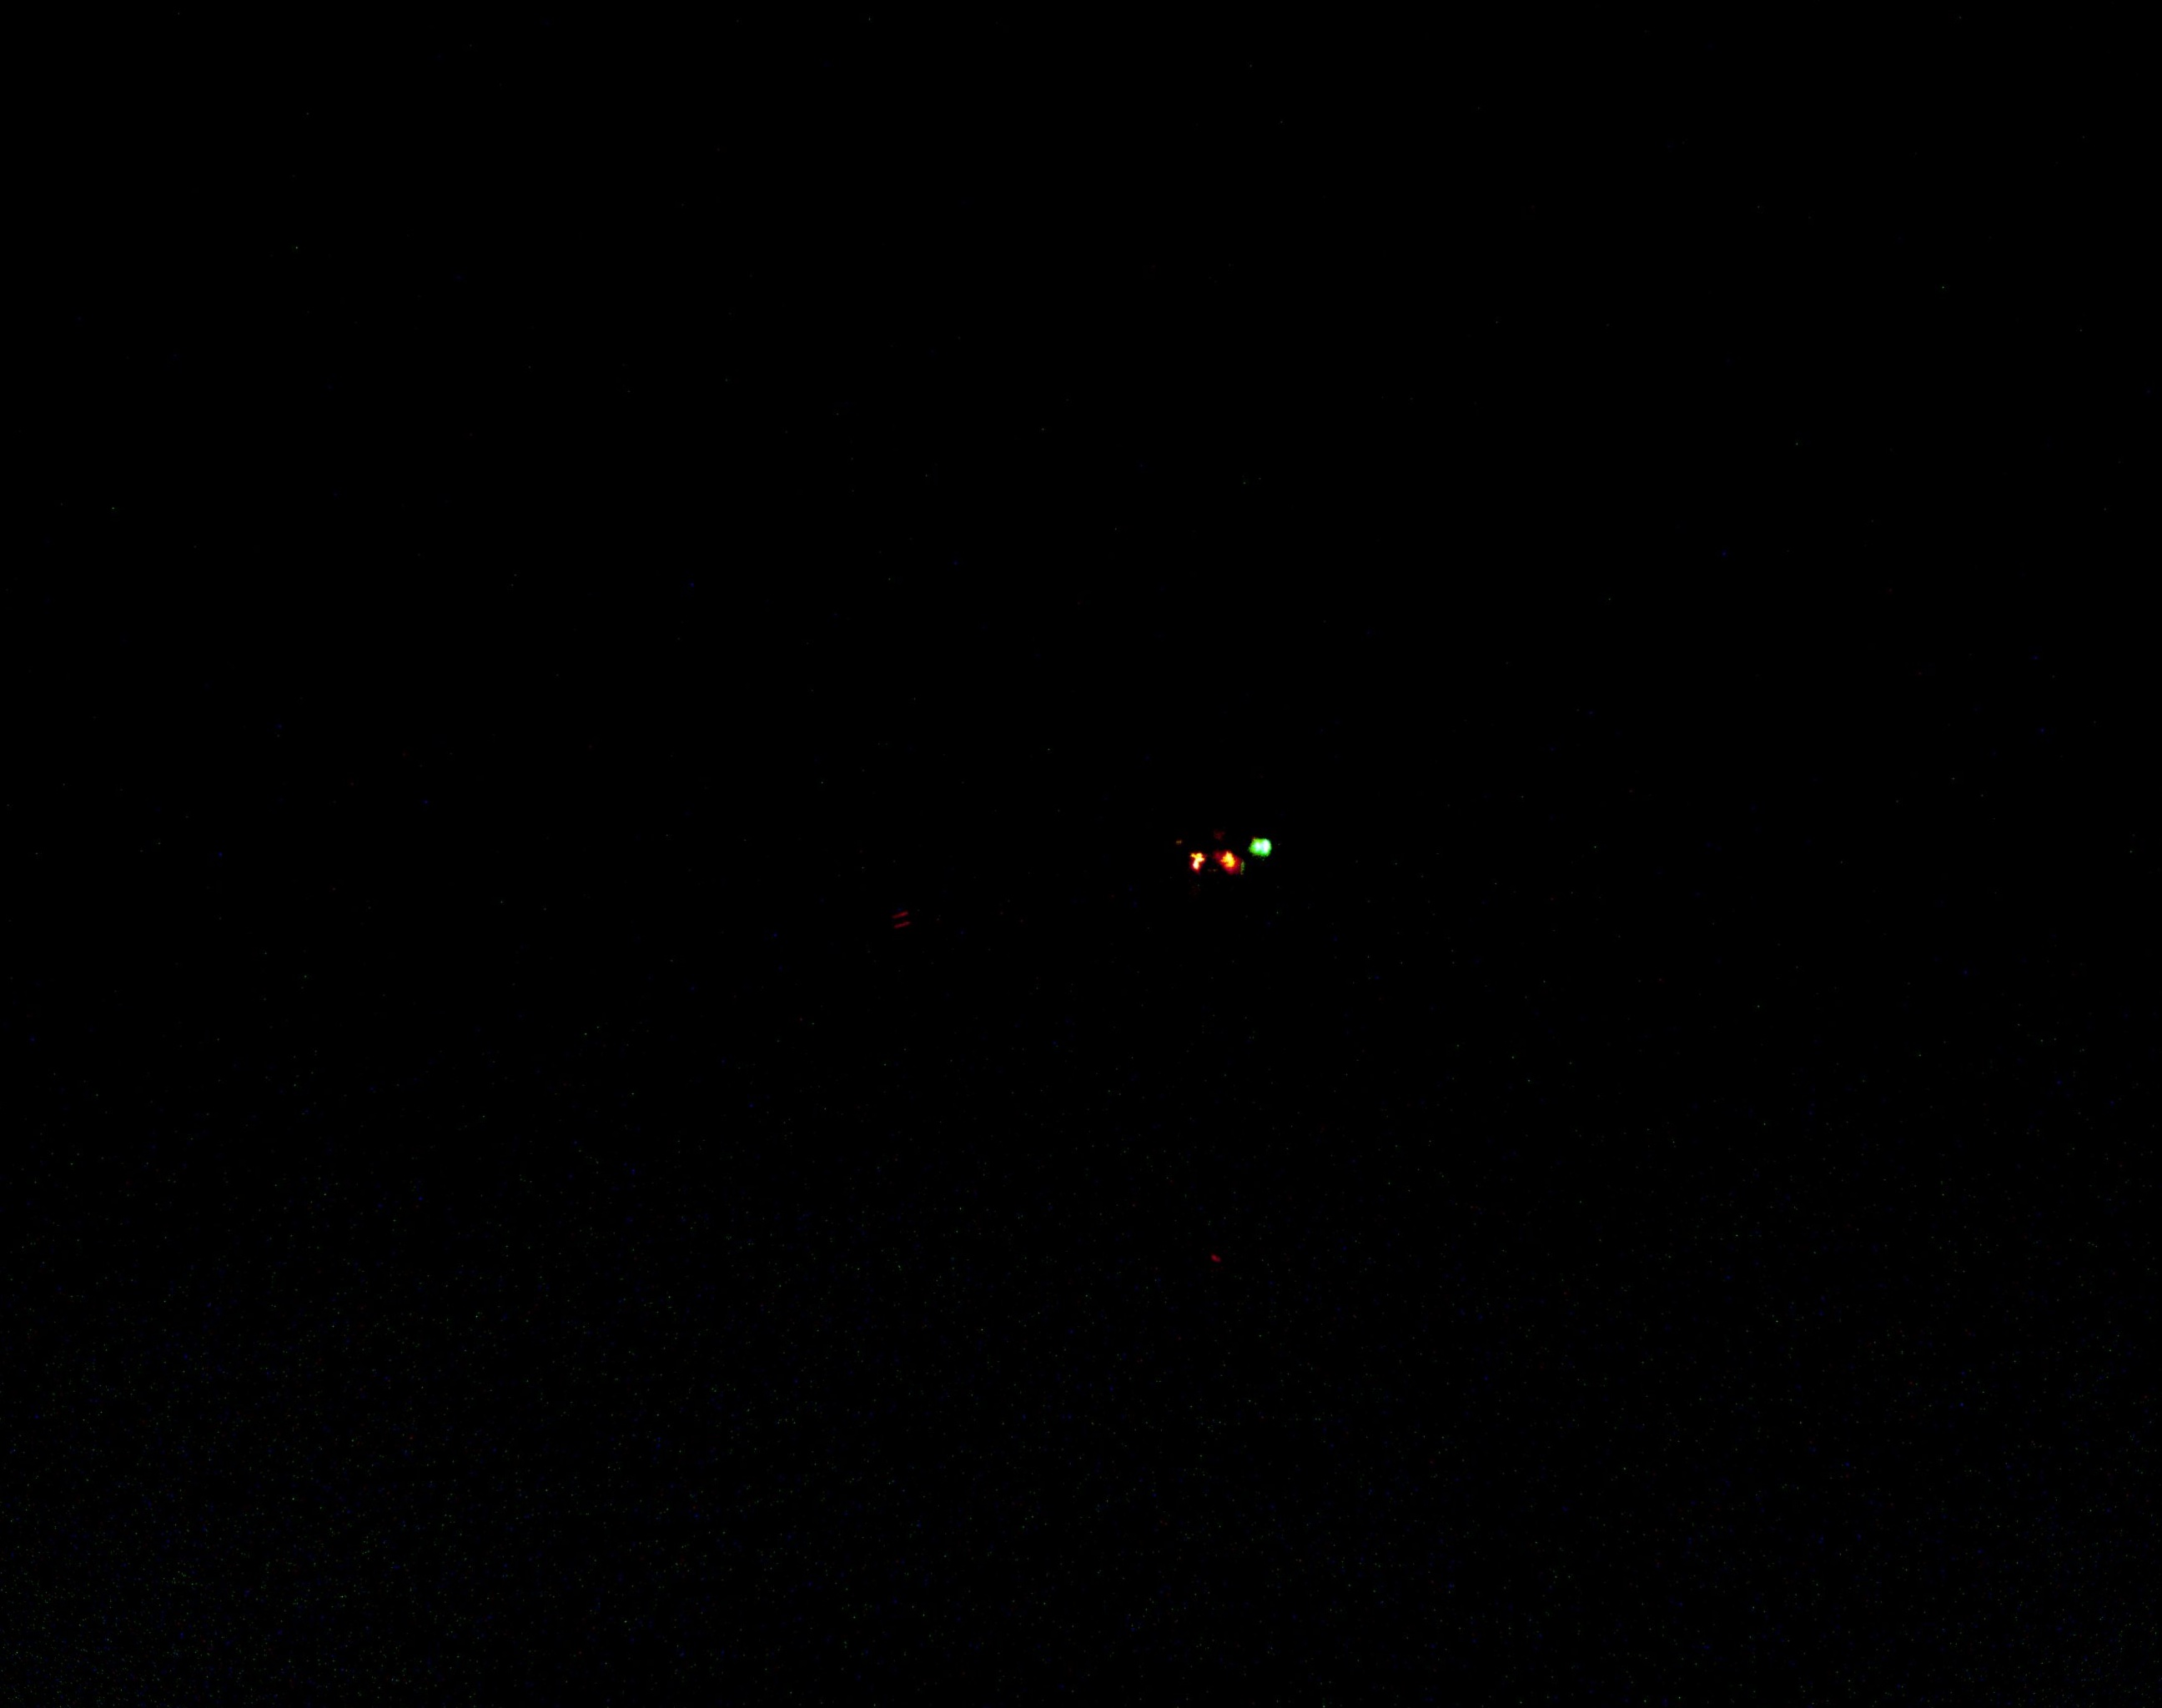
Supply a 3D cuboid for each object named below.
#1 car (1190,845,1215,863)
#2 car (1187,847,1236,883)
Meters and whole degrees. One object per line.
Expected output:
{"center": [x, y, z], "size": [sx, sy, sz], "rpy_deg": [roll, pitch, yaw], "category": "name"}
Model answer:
{"center": [11.220, -0.023, 70.092], "size": [1.933, 1.575, 4.989], "rpy_deg": [1, 1, 12], "category": "car"}
{"center": [6.640, 0.521, 39.231], "size": [1.998, 1.698, 4.985], "rpy_deg": [0, 1, 4], "category": "car"}
